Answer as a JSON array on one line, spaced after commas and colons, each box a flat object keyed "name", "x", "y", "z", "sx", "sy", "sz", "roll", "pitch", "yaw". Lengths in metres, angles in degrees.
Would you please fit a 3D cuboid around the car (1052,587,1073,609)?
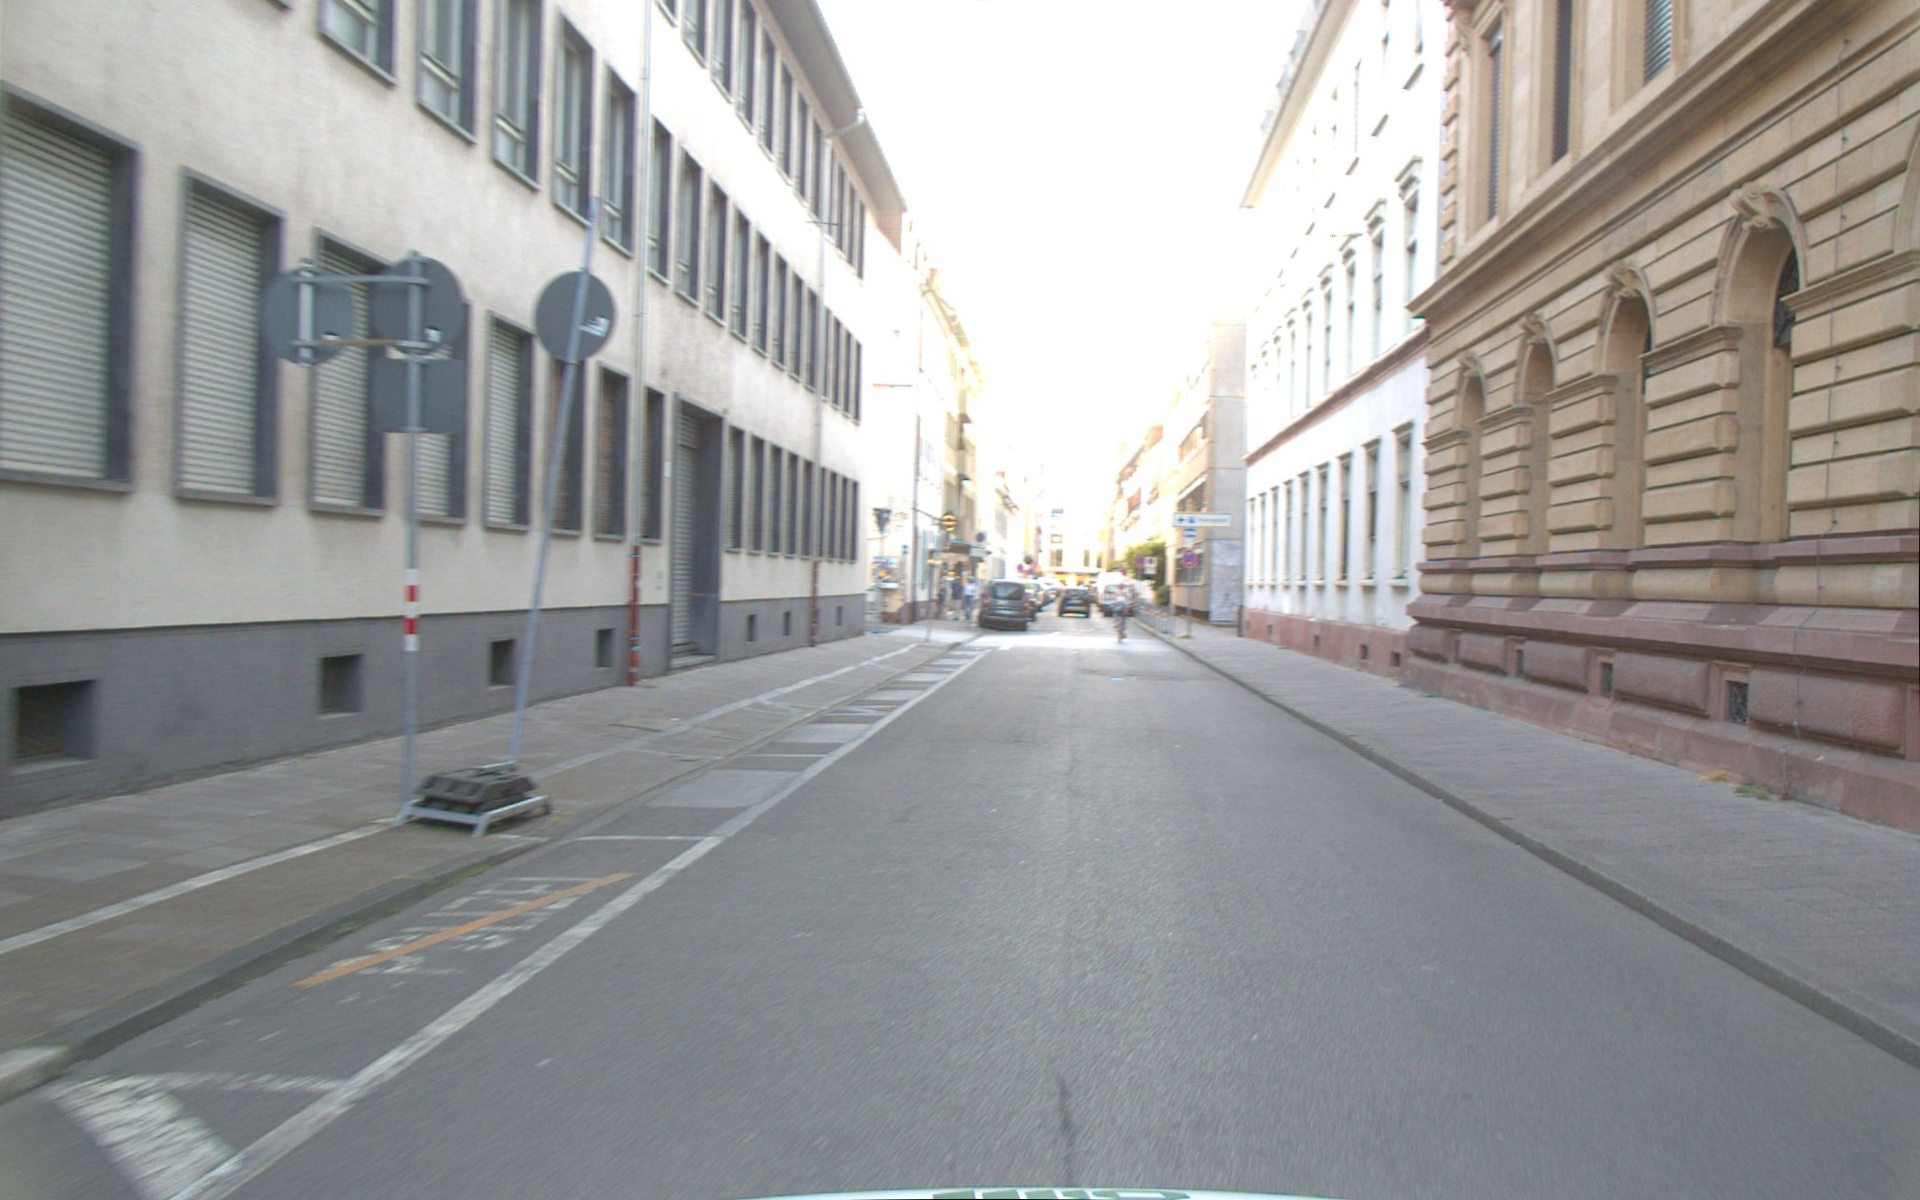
[{"name": "car", "x": 10.240, "y": -0.217, "z": 165.637, "sx": 1.952, "sy": 2.049, "sz": 4.002, "roll": 2, "pitch": 0, "yaw": 4}]

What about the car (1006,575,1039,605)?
[{"name": "car", "x": 3.919, "y": -0.647, "z": 103.607, "sx": 1.952, "sy": 1.847, "sz": 4.001, "roll": 1, "pitch": 1, "yaw": 2}]

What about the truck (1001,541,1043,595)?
[{"name": "truck", "x": 4.343, "y": -2.184, "z": 115.534, "sx": 2.713, "sy": 3.566, "sz": 9.619, "roll": 2, "pitch": 0, "yaw": 2}]

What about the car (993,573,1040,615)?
[{"name": "car", "x": 2.562, "y": -0.285, "z": 75.981, "sx": 1.953, "sy": 1.847, "sz": 4.000, "roll": 1, "pitch": 1, "yaw": 0}]

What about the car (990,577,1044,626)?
[{"name": "car", "x": 2.165, "y": 0.023, "z": 62.360, "sx": 1.952, "sy": 1.758, "sz": 4.002, "roll": 1, "pitch": 1, "yaw": 2}]

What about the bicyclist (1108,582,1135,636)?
[{"name": "bicyclist", "x": 4.915, "y": 0.269, "z": 50.441, "sx": 0.772, "sy": 1.610, "sz": 1.012, "roll": 1, "pitch": 0, "yaw": 4}]

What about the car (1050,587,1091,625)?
[{"name": "car", "x": 5.953, "y": 0.282, "z": 89.150, "sx": 1.952, "sy": 1.937, "sz": 4.001, "roll": 1, "pitch": 1, "yaw": 1}]

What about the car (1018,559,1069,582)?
[{"name": "car", "x": 6.780, "y": -2.377, "z": 133.985, "sx": 3.908, "sy": 1.801, "sz": 2.014, "roll": 2, "pitch": 0, "yaw": -4}]

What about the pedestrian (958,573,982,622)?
[{"name": "pedestrian", "x": 0.411, "y": -0.101, "z": 66.819, "sx": 0.718, "sy": 1.945, "sz": 0.757, "roll": 1, "pitch": 0, "yaw": 22}]

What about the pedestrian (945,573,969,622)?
[{"name": "pedestrian", "x": -0.127, "y": -0.106, "z": 67.519, "sx": 0.718, "sy": 1.945, "sz": 0.757, "roll": 1, "pitch": 0, "yaw": 22}]

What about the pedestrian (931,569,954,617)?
[{"name": "pedestrian", "x": -0.676, "y": -0.268, "z": 65.274, "sx": 0.742, "sy": 1.861, "sz": 0.732, "roll": 1, "pitch": 0, "yaw": -14}]

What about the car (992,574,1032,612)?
[{"name": "car", "x": 2.660, "y": -0.382, "z": 85.506, "sx": 1.952, "sy": 1.847, "sz": 4.001, "roll": 1, "pitch": 1, "yaw": 1}]

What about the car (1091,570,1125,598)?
[{"name": "car", "x": 10.249, "y": -1.111, "z": 114.686, "sx": 1.952, "sy": 1.919, "sz": 4.173, "roll": 1, "pitch": 1, "yaw": 1}]

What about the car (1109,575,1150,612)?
[{"name": "car", "x": 9.705, "y": -0.393, "z": 95.116, "sx": 1.952, "sy": 2.026, "sz": 4.001, "roll": 1, "pitch": 1, "yaw": 1}]

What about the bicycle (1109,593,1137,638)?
[{"name": "bicycle", "x": 4.948, "y": 0.453, "z": 50.404, "sx": 0.777, "sy": 1.299, "sz": 2.579, "roll": 1, "pitch": 1, "yaw": 4}]
